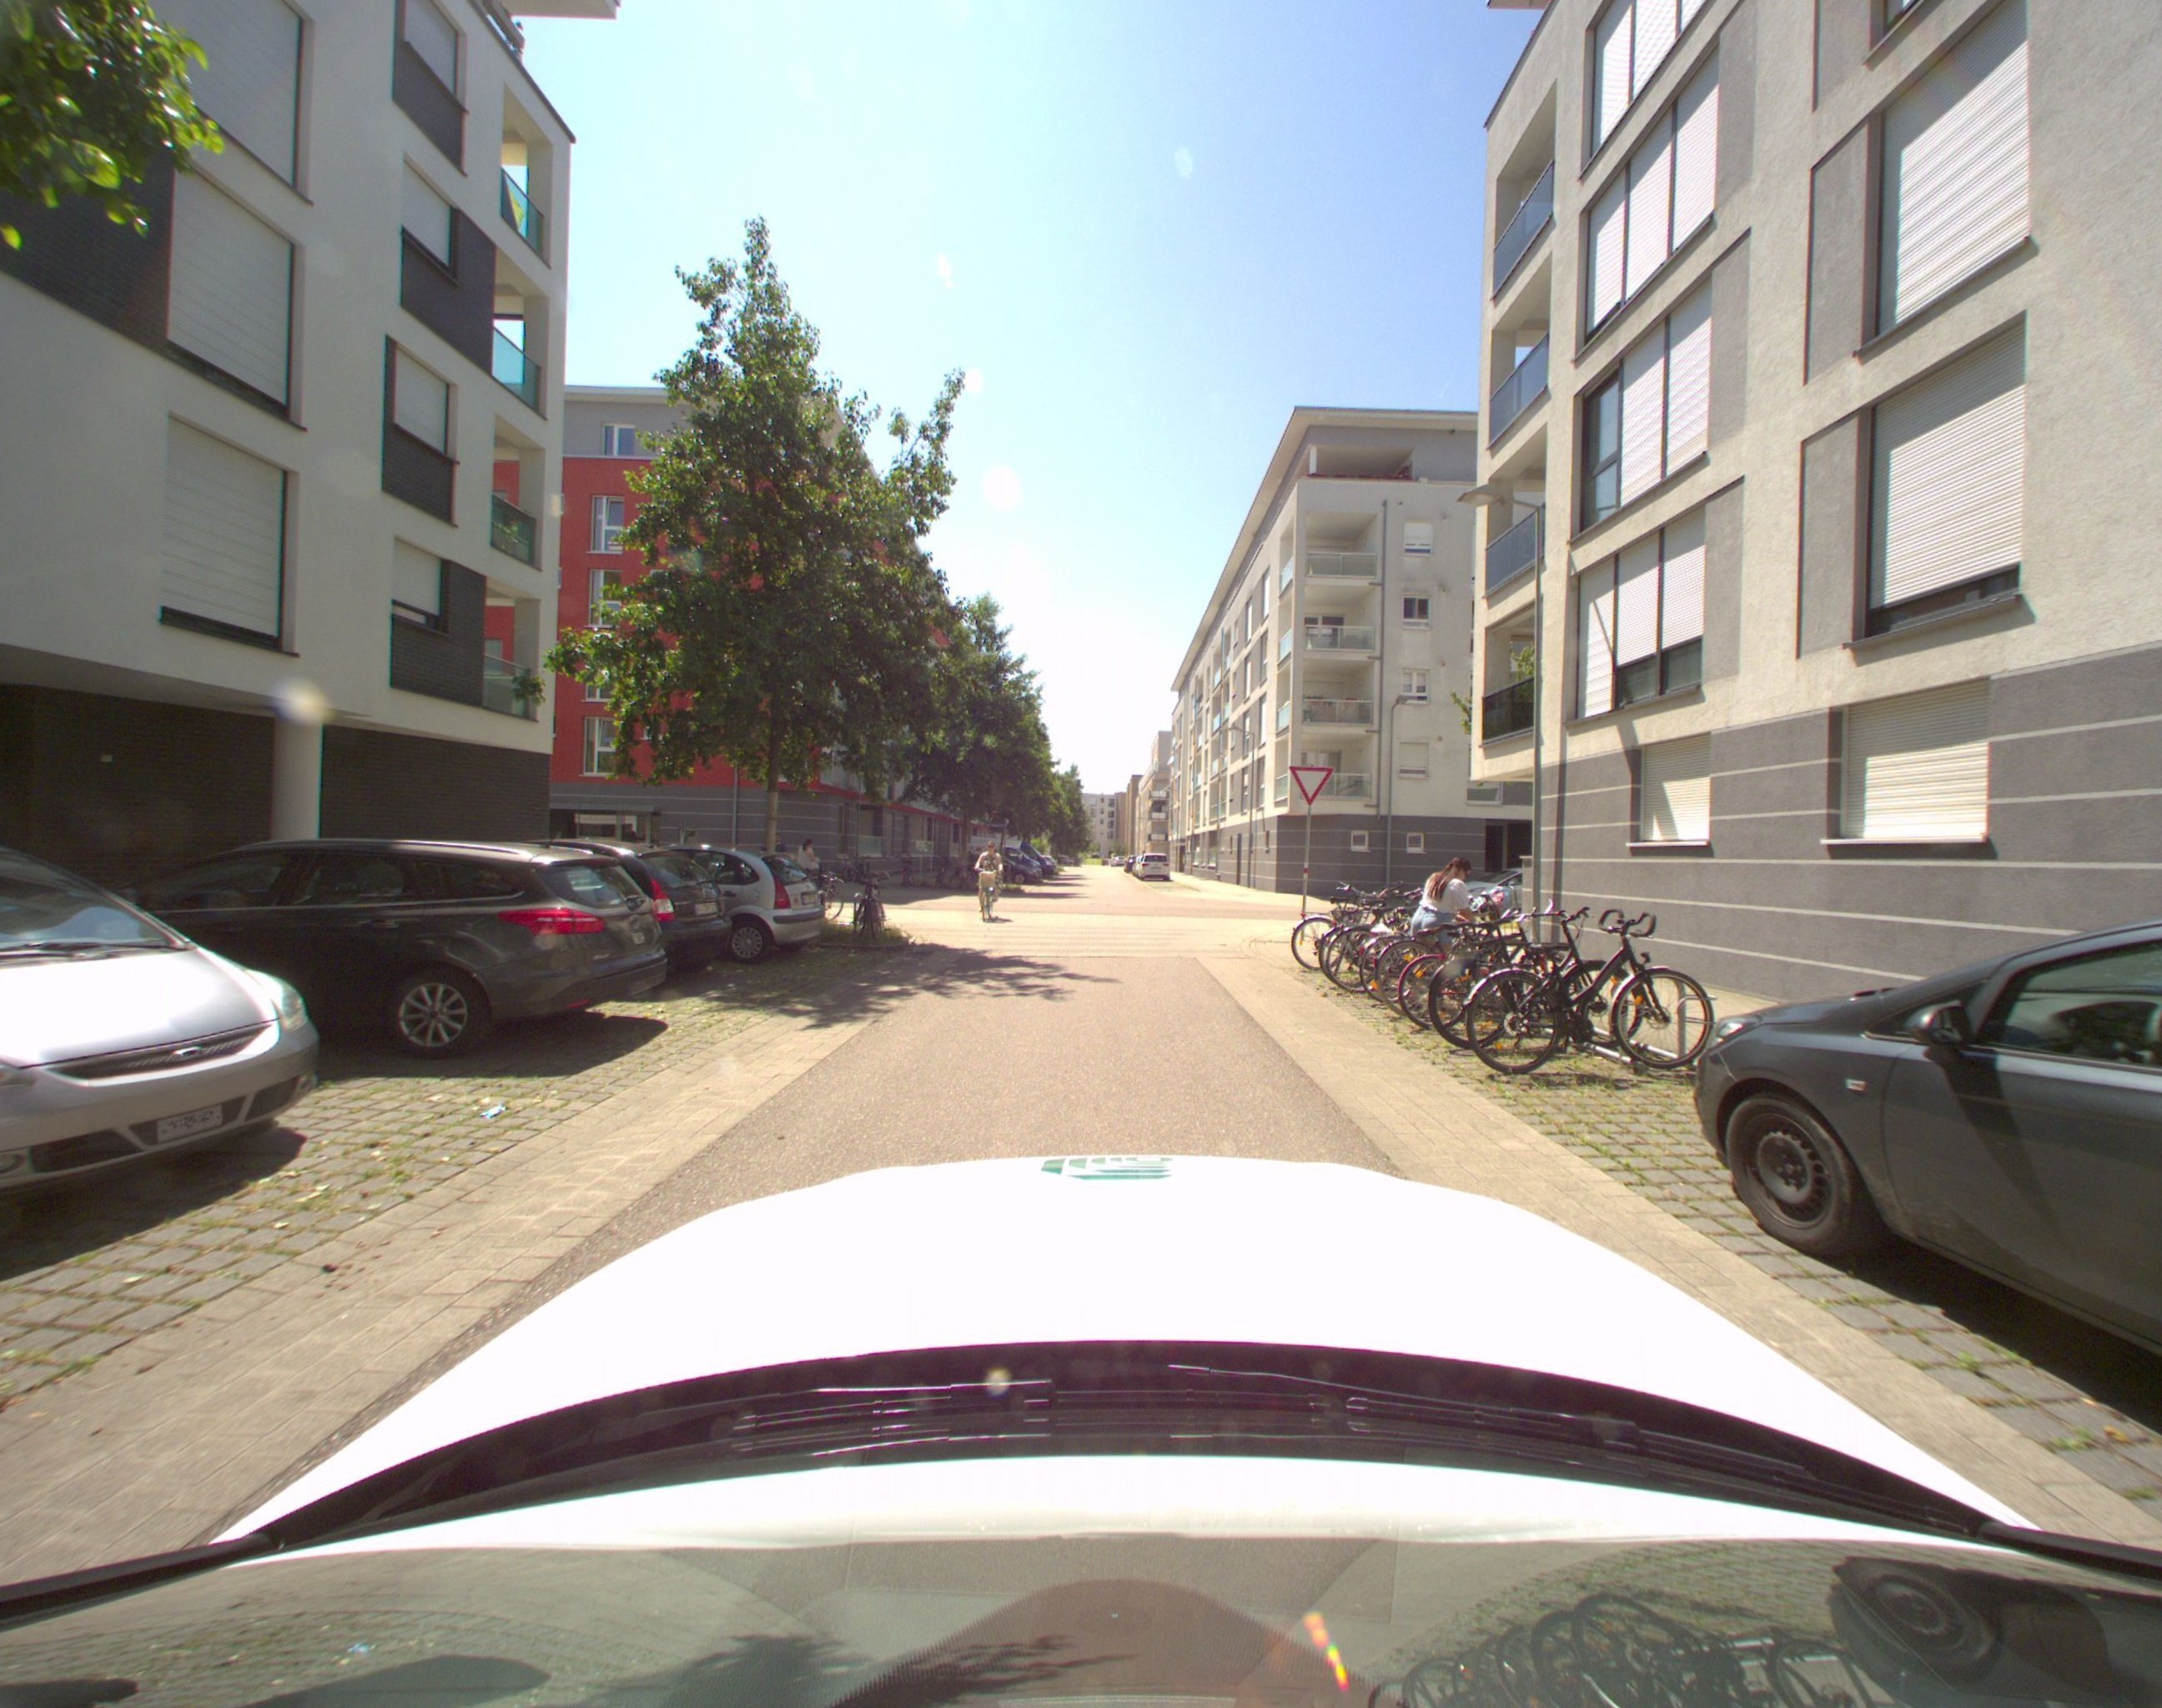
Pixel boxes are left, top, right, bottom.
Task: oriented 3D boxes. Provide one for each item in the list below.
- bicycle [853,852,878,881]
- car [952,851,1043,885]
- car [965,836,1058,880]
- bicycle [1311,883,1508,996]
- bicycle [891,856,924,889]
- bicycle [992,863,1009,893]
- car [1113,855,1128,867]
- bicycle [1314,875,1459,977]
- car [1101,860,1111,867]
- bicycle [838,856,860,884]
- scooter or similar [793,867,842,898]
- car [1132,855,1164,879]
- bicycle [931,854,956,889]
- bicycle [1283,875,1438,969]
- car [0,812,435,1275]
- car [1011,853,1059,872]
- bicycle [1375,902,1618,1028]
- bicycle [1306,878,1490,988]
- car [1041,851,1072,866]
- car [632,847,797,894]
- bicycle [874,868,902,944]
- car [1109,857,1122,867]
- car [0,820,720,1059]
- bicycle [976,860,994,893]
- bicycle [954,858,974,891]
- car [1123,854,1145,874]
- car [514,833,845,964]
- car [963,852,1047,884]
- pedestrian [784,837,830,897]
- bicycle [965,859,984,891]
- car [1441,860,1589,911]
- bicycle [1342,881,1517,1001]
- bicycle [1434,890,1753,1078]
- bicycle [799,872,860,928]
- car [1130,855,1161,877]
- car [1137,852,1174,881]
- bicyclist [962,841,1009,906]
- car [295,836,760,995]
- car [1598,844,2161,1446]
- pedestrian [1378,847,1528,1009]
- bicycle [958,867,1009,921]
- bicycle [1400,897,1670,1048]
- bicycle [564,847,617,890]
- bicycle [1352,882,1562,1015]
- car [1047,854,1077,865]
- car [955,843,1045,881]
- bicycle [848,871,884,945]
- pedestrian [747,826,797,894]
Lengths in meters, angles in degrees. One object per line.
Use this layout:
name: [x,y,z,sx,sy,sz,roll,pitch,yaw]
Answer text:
bicycle: [-9.602,0.536,36.325,0.549,1.240,1.925,1,0,0]
car: [-4.301,0.713,42.505,4.367,1.515,2.075,3,0,1]
car: [-4.652,0.271,55.132,6.003,2.816,2.605,1,0,1]
bicycle: [3.520,0.898,8.863,1.911,1.133,0.611,0,0,10]
bicycle: [-6.864,0.707,32.293,0.687,1.170,2.224,4,1,2]
bicycle: [-3.213,0.928,32.588,0.464,1.141,1.925,1,0,-1]
car: [5.705,0.933,118.275,1.987,1.675,3.999,1,0,0]
bicycle: [3.777,0.874,10.148,1.546,1.218,0.707,0,0,-1]
car: [5.610,2.108,180.824,1.985,1.519,4.003,1,0,3]
bicycle: [-9.581,0.636,33.696,0.607,1.107,2.099,1,0,-9]
scooter or similar: [-7.882,0.840,24.417,1.064,0.888,1.019,1,0,2]
car: [4.518,0.837,55.310,1.986,1.524,4.002,1,0,2]
bicycle: [-5.461,0.681,32.445,0.591,1.331,1.813,1,1,2]
bicycle: [3.684,0.884,10.859,1.851,1.193,0.688,0,0,4]
car: [-5.592,0.566,3.572,3.924,1.553,1.872,3,0,0]
car: [-4.059,0.728,72.330,3.970,1.618,2.002,1,0,3]
bicycle: [3.665,0.962,7.249,1.919,1.035,0.559,0,0,-3]
bicycle: [3.632,0.885,9.467,1.911,1.179,0.640,0,0,10]
car: [-3.393,0.597,113.971,3.965,2.013,2.004,1,0,7]
car: [-12.053,0.532,27.022,4.560,1.383,1.937,1,1,-2]
bicycle: [-3.278,0.847,13.881,0.371,1.180,1.814,1,0,-11]
car: [6.142,1.392,145.501,1.987,1.717,3.999,1,0,0]
car: [-5.435,0.604,6.467,4.171,1.486,1.957,2,-1,-3]
bicycle: [-3.806,0.863,32.376,0.569,1.174,1.765,4,1,-6]
bicycle: [-4.694,0.804,32.645,0.517,1.204,1.752,3,1,-1]
car: [4.558,0.848,69.722,1.749,1.552,4.005,2,0,4]
car: [-5.427,0.573,11.386,3.617,1.520,1.832,3,0,1]
car: [-4.174,0.748,45.056,4.367,1.542,1.878,3,0,1]
pedestrian: [-7.916,0.380,23.529,0.996,1.690,0.832,1,0,1]
bicycle: [-4.237,0.823,32.387,0.432,1.204,1.700,3,1,2]
car: [14.350,1.024,27.095,3.974,1.469,1.755,1,2,-1]
bicycle: [3.646,0.872,8.496,1.838,1.148,0.458,0,0,-18]
bicycle: [3.594,0.879,5.809,1.865,1.218,0.715,0,0,-3]
bicycle: [-4.915,0.878,15.997,0.531,0.990,1.678,3,-1,3]
car: [4.739,0.849,60.138,1.987,1.524,3.999,1,0,0]
car: [4.474,0.713,49.609,1.990,1.657,4.117,1,0,2]
bicyclist: [-2.183,0.438,18.765,0.950,1.459,0.800,1,0,0]
car: [-5.960,0.611,9.117,3.970,1.555,1.801,1,0,3]
car: [3.538,0.721,2.164,1.732,1.485,4.230,0,0,1]
pedestrian: [3.651,0.696,8.040,1.178,1.515,0.686,0,0,-9]
bicycle: [-2.218,0.886,18.791,0.895,1.129,2.040,1,0,0]
bicycle: [3.599,0.914,6.556,1.782,1.104,0.746,0,0,-3]
bicycle: [-16.441,0.474,27.265,2.320,1.378,0.687,1,0,37]
bicycle: [3.645,0.888,7.912,1.922,1.218,0.459,0,0,-8]
car: [-2.667,0.777,116.347,3.965,1.602,2.004,1,0,7]
car: [-4.902,0.465,49.701,5.127,2.119,2.312,2,0,1]
bicycle: [-3.639,0.870,13.857,0.434,1.128,1.971,1,0,-11]
pedestrian: [-9.409,0.190,24.839,1.004,2.014,1.130,1,0,4]
